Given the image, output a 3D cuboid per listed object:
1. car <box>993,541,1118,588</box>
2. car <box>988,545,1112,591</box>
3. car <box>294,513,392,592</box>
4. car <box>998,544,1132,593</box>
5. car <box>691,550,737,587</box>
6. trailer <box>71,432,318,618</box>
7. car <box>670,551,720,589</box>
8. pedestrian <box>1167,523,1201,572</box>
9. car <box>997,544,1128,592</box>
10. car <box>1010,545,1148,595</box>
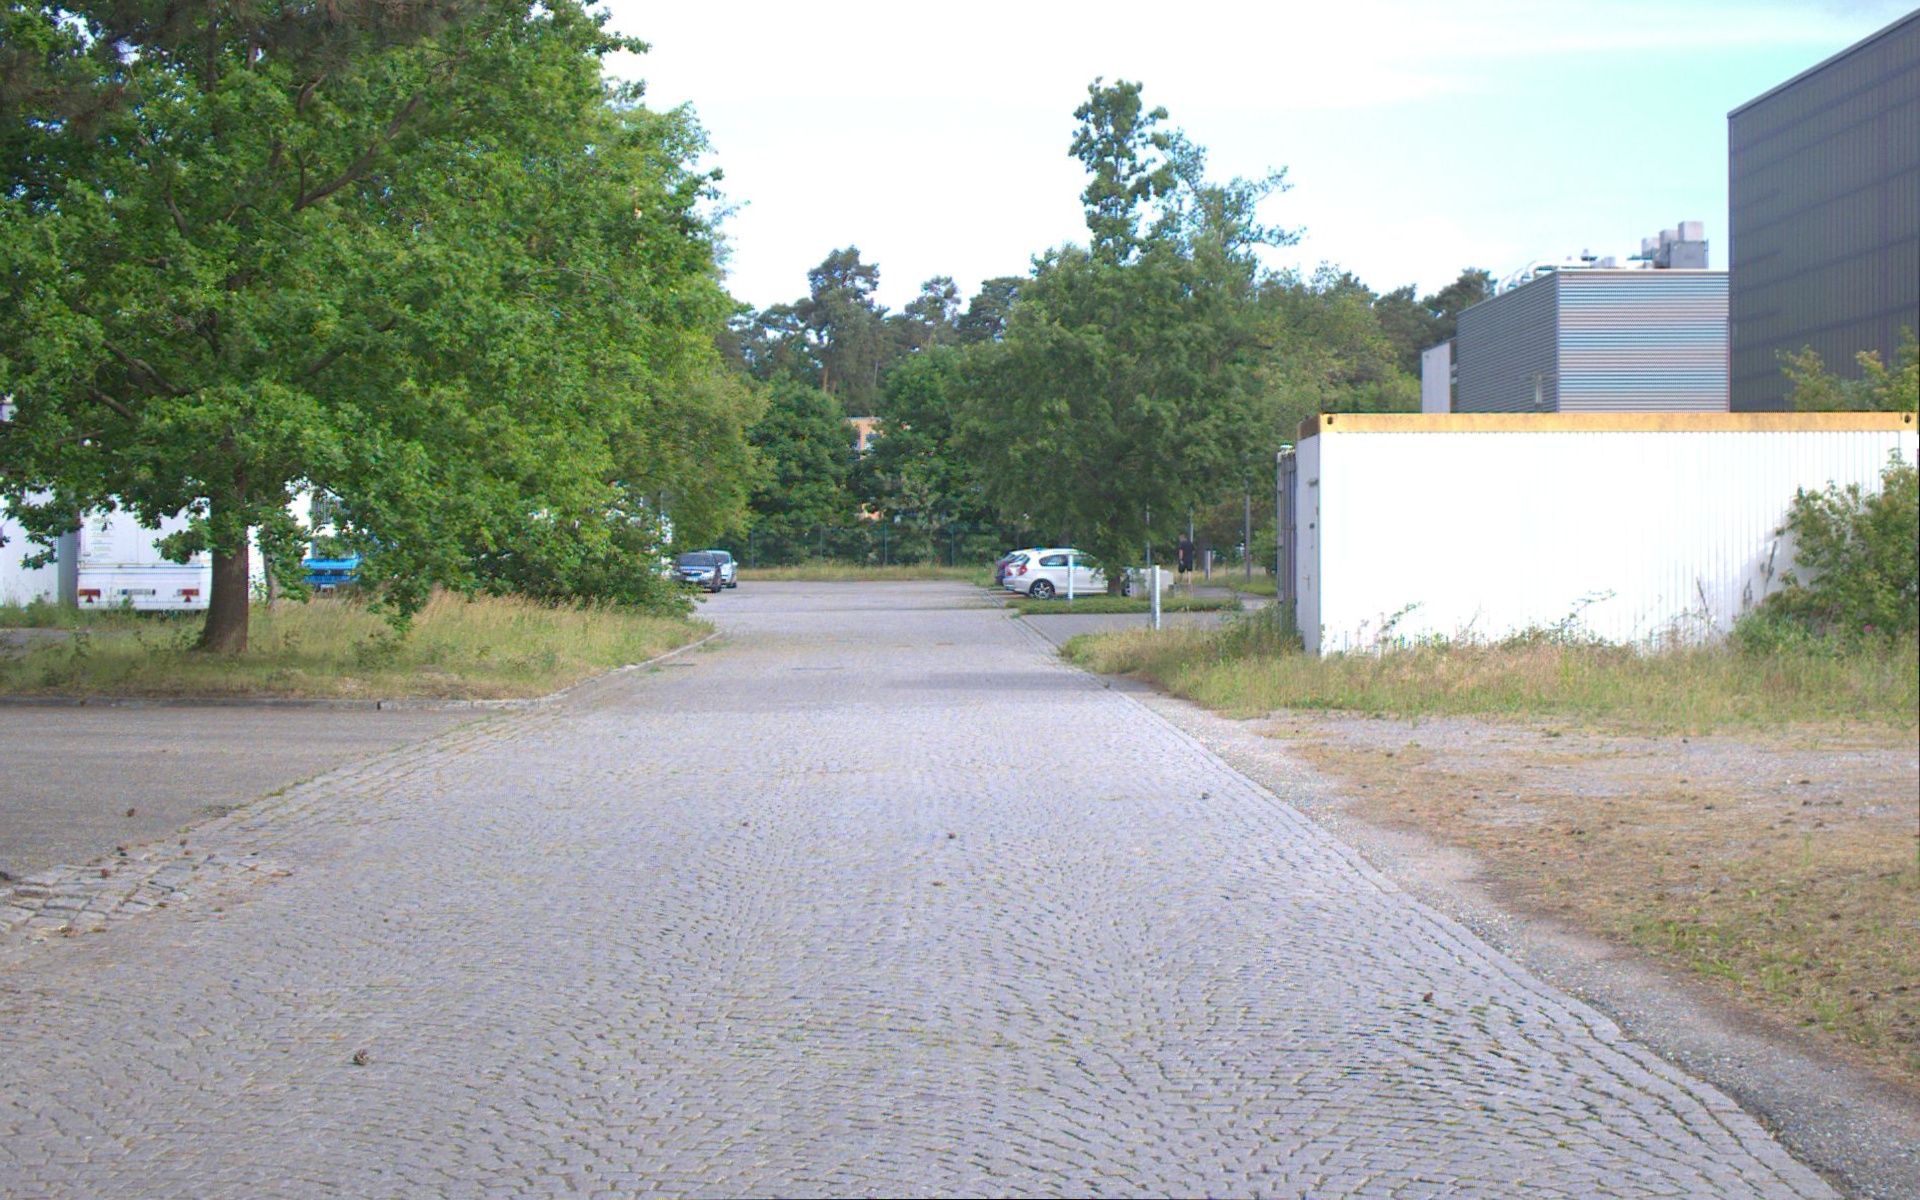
[{"bbox_3d":[3.180,-1.192,114.906,3.986,1.528,2.000,0,1,-4],"label":"car"},{"bbox_3d":[2.907,-1.044,111.690,3.987,1.450,1.770,0,1,0],"label":"car"},{"bbox_3d":[-20.364,-1.568,113.770,1.994,2.515,5.617,0,1,2],"label":"car"},{"bbox_3d":[3.159,-0.955,103.748,3.987,1.450,1.697,0,1,0],"label":"car"},{"bbox_3d":[-9.709,-1.254,135.683,1.748,1.449,4.001,0,1,-3],"label":"car"},{"bbox_3d":[-16.333,-1.580,74.209,2.657,3.693,10.721,0,1,1],"label":"trailer"},{"bbox_3d":[-9.659,-1.102,125.452,1.748,1.359,4.001,0,1,-3],"label":"car"},{"bbox_3d":[7.299,-1.711,112.228,0.939,1.563,0.971,0,1,-6],"label":"pedestrian"},{"bbox_3d":[3.167,-1.006,106.788,3.987,1.450,1.770,0,1,0],"label":"car"},{"bbox_3d":[3.491,-0.871,101.582,3.987,1.450,2.000,0,0,0],"label":"car"}]
